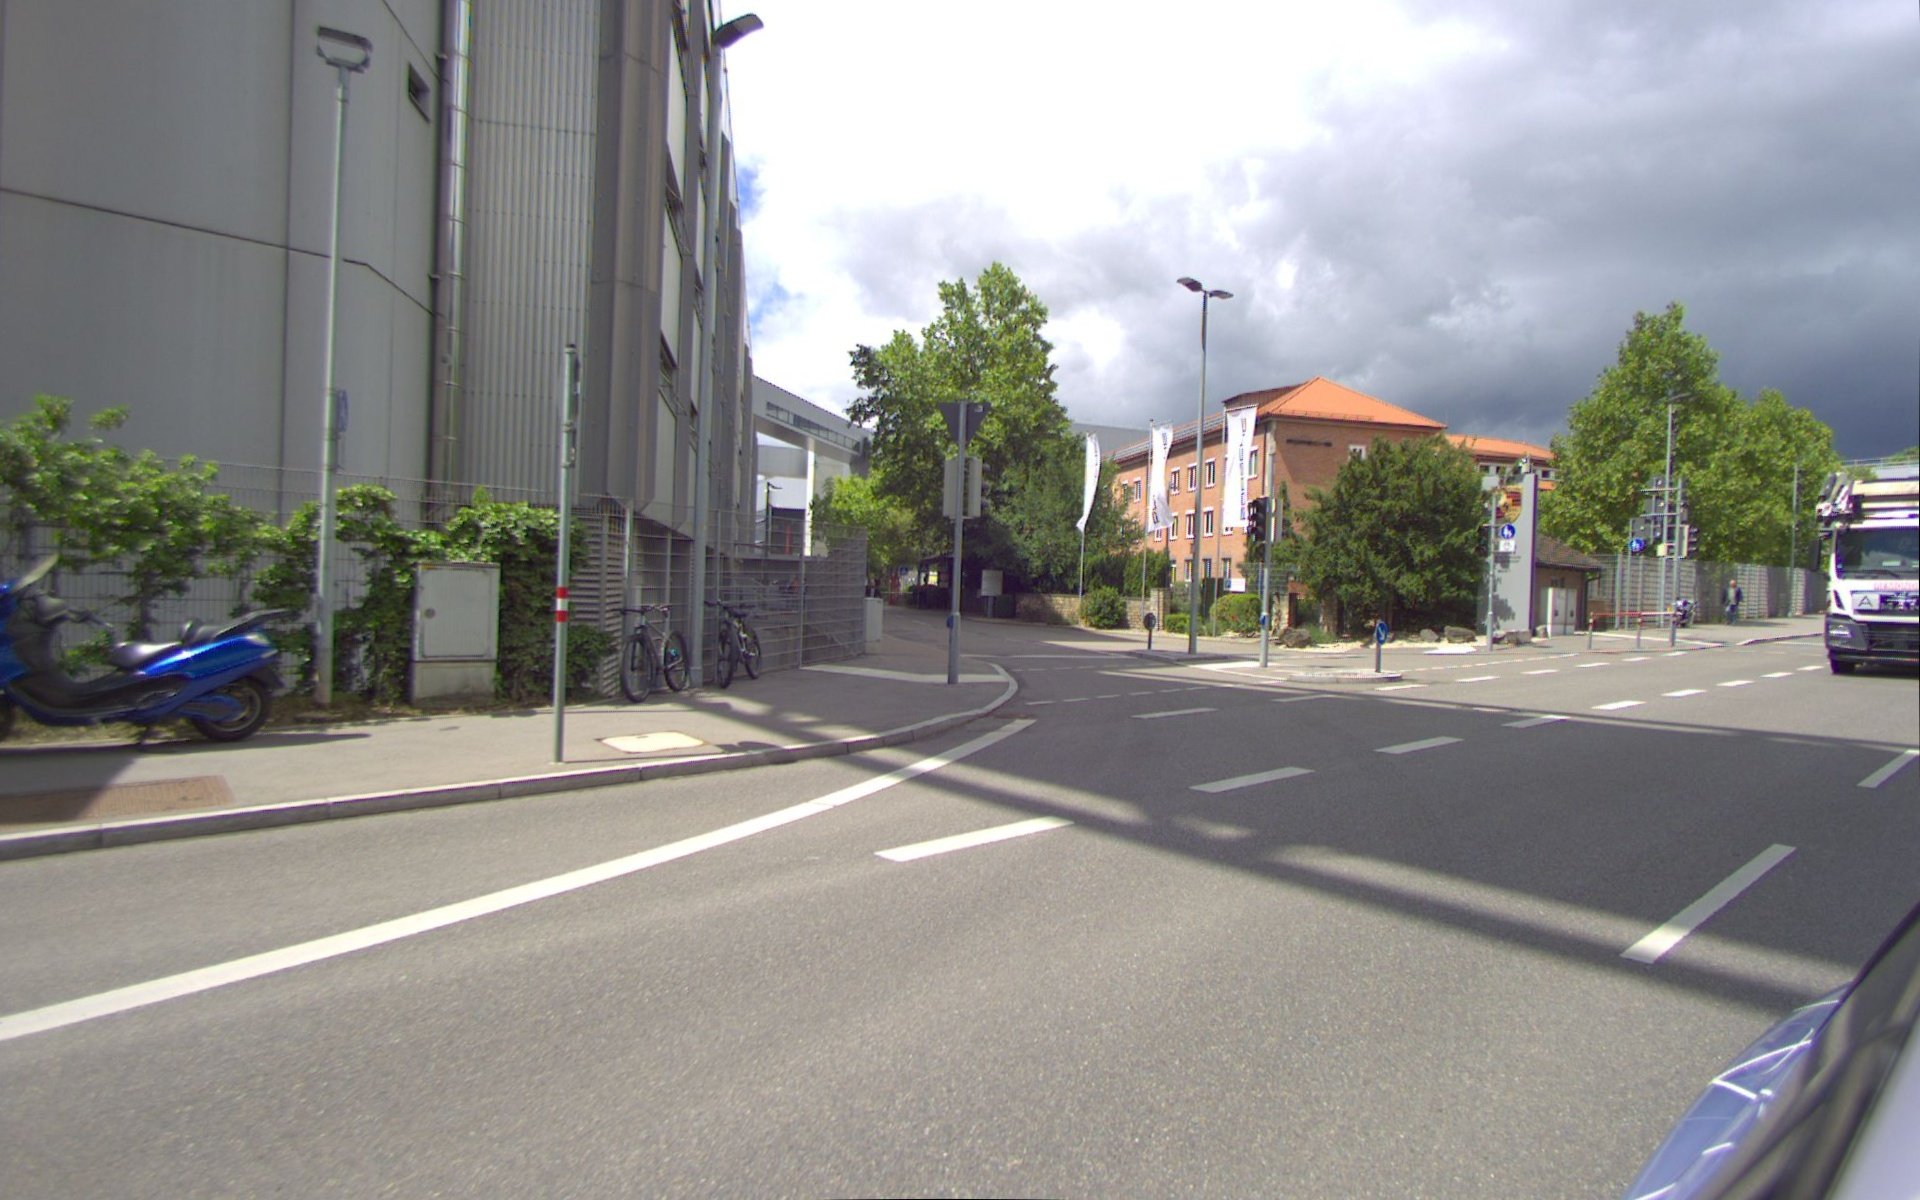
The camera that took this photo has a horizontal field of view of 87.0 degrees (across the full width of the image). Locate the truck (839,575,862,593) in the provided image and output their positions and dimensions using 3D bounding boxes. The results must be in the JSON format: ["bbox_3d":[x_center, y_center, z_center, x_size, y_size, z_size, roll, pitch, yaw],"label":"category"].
[{"bbox_3d":[-13.010,-1.930,120.134,2.464,2.039,4.420,0,1,-3],"label":"truck"}]

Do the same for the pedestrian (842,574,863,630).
[{"bbox_3d":[-3.505,0.047,32.979,0.624,1.802,0.747,0,0,-12],"label":"pedestrian"}]

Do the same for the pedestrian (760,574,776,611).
[{"bbox_3d":[-9.784,-0.387,51.587,0.739,1.913,0.747,0,0,-17],"label":"pedestrian"}]

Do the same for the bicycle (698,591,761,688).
[{"bbox_3d":[-3.009,0.477,13.342,0.535,1.142,1.889,2,1,-6],"label":"bicycle"}]

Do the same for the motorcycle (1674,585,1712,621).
[{"bbox_3d":[26.337,0.092,36.373,2.137,1.241,0.570,-1,3,-40],"label":"motorcycle"}]

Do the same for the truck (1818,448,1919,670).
[{"bbox_3d":[21.031,-0.793,21.476,10.553,3.934,2.711,-1,1,-41],"label":"truck"}]

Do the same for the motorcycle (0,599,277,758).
[{"bbox_3d":[-6.442,0.552,7.710,2.001,1.080,0.592,0,3,-41],"label":"motorcycle"}]

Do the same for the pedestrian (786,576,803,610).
[{"bbox_3d":[-8.487,-0.347,51.936,0.739,1.714,0.747,0,0,-17],"label":"pedestrian"}]

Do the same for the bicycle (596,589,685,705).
[{"bbox_3d":[-3.596,0.482,11.545,0.535,1.142,1.973,2,1,-6],"label":"bicycle"}]

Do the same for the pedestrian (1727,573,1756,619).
[{"bbox_3d":[30.877,-0.182,39.997,0.998,1.788,0.729,0,0,-41],"label":"pedestrian"}]

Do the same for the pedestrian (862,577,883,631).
[{"bbox_3d":[-2.877,0.137,33.144,0.605,1.744,0.747,0,0,-12],"label":"pedestrian"}]

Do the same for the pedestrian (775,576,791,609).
[{"bbox_3d":[-9.334,-0.409,53.389,0.739,1.714,0.747,0,0,-17],"label":"pedestrian"}]

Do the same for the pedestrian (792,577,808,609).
[{"bbox_3d":[-8.510,-0.370,53.878,0.739,1.714,0.747,0,0,-17],"label":"pedestrian"}]
